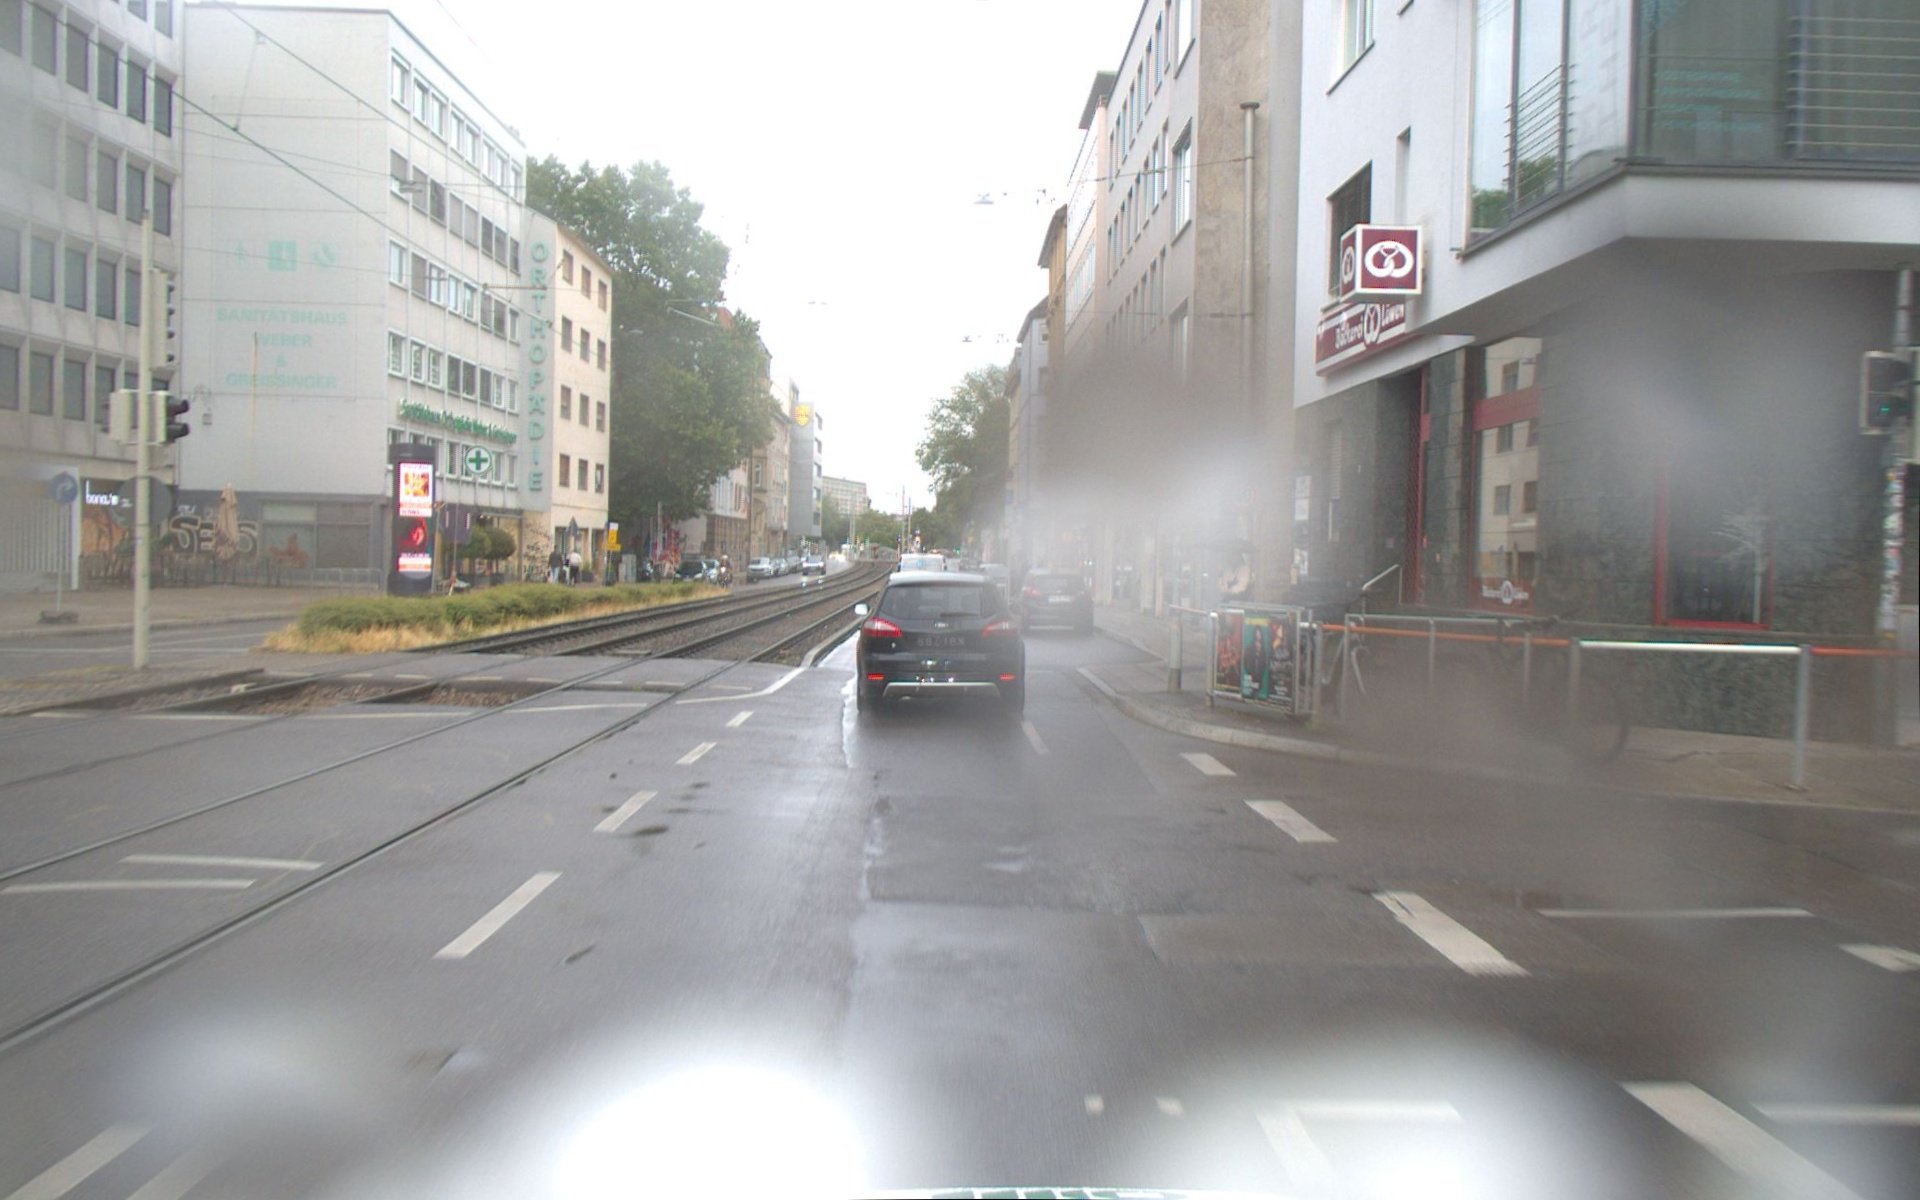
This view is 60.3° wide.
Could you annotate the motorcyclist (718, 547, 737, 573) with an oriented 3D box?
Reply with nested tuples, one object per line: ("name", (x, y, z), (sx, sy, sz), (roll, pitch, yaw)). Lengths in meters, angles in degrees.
("motorcyclist", (-11.250, -1.919, 80.147), (0.726, 1.238, 0.970), (1, 1, 1))

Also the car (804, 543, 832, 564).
("car", (-11.866, -3.858, 138.018), (1.953, 1.545, 4.443), (2, 0, -1))

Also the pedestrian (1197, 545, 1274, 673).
("pedestrian", (3.526, 0.100, 21.219), (0.650, 1.609, 0.774), (0, 1, -23))

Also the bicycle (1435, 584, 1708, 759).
("bicycle", (4.615, 0.498, 12.613), (0.572, 1.177, 1.931), (1, 2, -37))

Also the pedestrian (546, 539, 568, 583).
("pedestrian", (-17.804, -1.730, 73.045), (0.712, 1.928, 0.983), (1, 1, -1))

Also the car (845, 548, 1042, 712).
("car", (-0.174, 0.261, 18.640), (1.953, 1.621, 4.271), (0, 1, 0))

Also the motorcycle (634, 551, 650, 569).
("motorcycle", (-19.293, -2.451, 100.345), (0.626, 1.050, 2.119), (1, 2, -2))

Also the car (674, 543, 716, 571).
("car", (-14.754, -2.416, 92.381), (1.708, 1.494, 4.220), (0, 2, -1))

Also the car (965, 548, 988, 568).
("car", (1.296, -3.420, 133.576), (1.703, 1.514, 4.000), (1, 2, -2))

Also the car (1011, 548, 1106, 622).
("car", (2.259, -0.372, 38.848), (1.953, 1.621, 4.271), (0, 1, 0))

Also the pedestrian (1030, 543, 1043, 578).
("pedestrian", (4.523, -2.361, 97.885), (0.721, 2.048, 0.821), (1, 2, -2))

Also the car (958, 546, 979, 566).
("car", (0.723, -3.717, 138.303), (1.609, 1.542, 4.039), (1, 2, -2))

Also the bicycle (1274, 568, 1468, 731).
("bicycle", (3.516, 0.385, 14.330), (0.491, 1.280, 1.941), (1, 1, -25))

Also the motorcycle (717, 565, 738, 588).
("motorcycle", (-11.272, -1.158, 80.255), (0.727, 1.078, 1.932), (1, 1, 1))

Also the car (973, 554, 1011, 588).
("car", (1.554, -1.452, 81.739), (1.711, 1.549, 4.355), (1, 3, -1))

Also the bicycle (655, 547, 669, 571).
("bicycle", (-16.121, -2.235, 89.523), (0.579, 1.248, 2.400), (1, 1, -8))

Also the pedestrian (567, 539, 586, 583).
("pedestrian", (-16.929, -1.711, 73.023), (0.664, 1.928, 0.743), (1, 1, -1))

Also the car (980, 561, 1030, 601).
("car", (1.887, -0.834, 70.309), (1.953, 1.621, 4.572), (0, 1, 0))

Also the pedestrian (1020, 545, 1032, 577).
("pedestrian", (3.909, -2.300, 97.713), (0.648, 1.884, 0.821), (1, 2, -2))

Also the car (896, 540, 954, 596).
("car", (-1.182, -1.107, 57.325), (1.953, 1.847, 4.271), (0, 1, 0))

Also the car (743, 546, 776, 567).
("car", (-15.225, -3.314, 125.661), (1.953, 1.545, 4.435), (1, 2, -1))
